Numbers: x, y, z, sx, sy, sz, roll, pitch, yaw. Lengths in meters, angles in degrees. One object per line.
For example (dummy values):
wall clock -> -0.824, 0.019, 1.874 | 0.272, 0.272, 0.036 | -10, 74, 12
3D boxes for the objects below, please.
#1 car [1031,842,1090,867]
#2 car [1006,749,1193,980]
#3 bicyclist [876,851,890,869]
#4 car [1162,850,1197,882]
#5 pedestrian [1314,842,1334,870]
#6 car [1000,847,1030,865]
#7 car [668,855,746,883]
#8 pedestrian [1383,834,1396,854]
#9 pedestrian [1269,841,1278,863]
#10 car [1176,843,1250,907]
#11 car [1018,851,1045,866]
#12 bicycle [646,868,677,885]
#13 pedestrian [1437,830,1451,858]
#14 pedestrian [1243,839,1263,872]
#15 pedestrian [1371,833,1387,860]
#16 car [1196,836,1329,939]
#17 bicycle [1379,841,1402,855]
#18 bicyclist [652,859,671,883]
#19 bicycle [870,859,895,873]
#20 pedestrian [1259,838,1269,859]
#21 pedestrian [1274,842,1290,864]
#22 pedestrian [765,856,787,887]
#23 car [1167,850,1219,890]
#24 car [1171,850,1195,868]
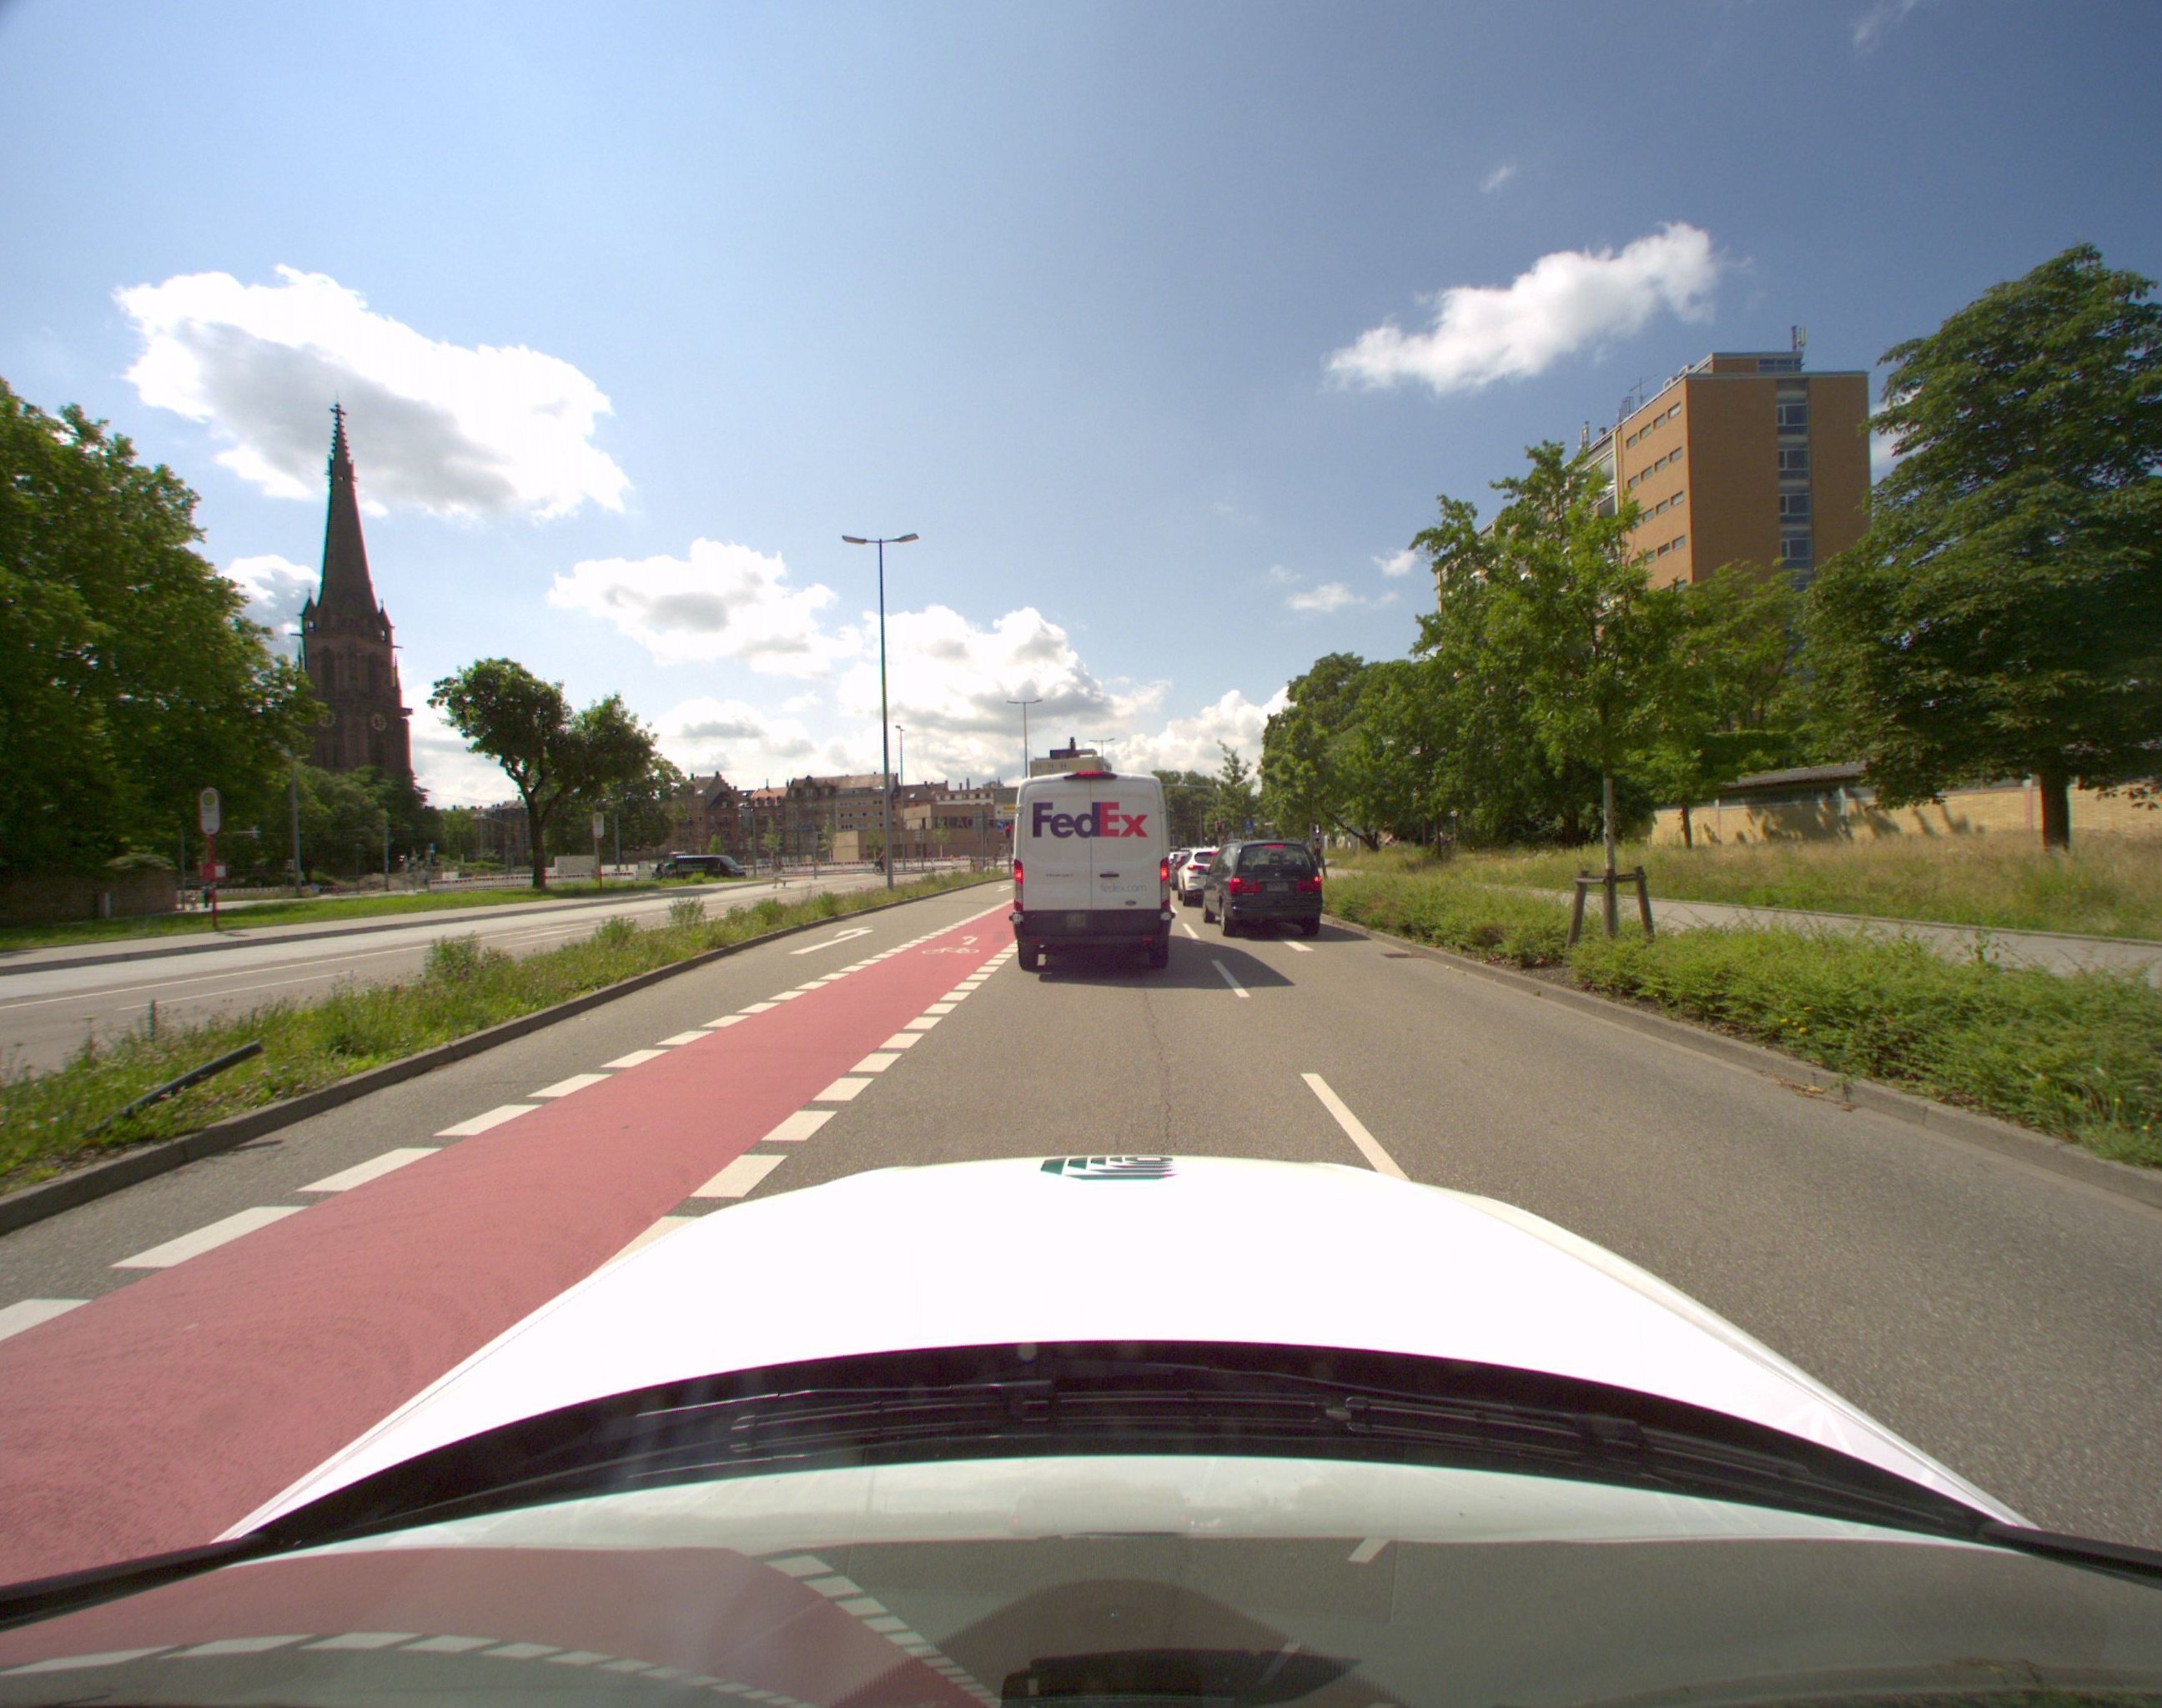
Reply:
car -> -1.803, 0.062, 70.179 | 4.646, 2.014, 2.085 | -2, -1, -21
car -> 0.142, 0.115, 12.380 | 2.135, 2.652, 5.700 | -1, 0, -2
bicyclist -> -15.952, 0.480, 65.640 | 0.966, 1.474, 0.550 | -2, 0, -5
car -> 4.747, 0.564, 39.611 | 1.478, 1.428, 3.437 | -2, 0, 4
pedestrian -> 13.671, 0.120, 45.897 | 0.841, 1.539, 0.835 | -2, 0, 2
car -> -7.688, 0.228, 95.242 | 1.978, 2.013, 4.018 | -2, 0, 17
car -> -28.681, 1.141, 62.489 | 4.994, 1.879, 1.928 | -2, 1, -2
pedestrian -> 23.296, -0.790, 61.496 | 0.891, 1.472, 0.488 | -2, 0, 21
pedestrian -> 16.416, -0.184, 69.374 | 0.572, 1.892, 0.679 | -2, 0, 2
car -> 3.832, 0.549, 24.168 | 1.789, 1.687, 4.005 | -2, 0, 4
car -> -5.671, 0.503, 93.806 | 1.886, 1.585, 4.018 | -2, 0, 17
bicycle -> -33.528, 1.771, 65.053 | 2.061, 1.290, 0.603 | -2, 0, -5
pedestrian -> 26.912, -0.730, 60.375 | 0.837, 2.058, 0.745 | -2, 0, 30
pedestrian -> 10.034, 0.076, 47.488 | 0.947, 1.892, 0.774 | -2, 0, 2
pedestrian -> 23.045, -0.579, 63.023 | 0.739, 2.058, 0.843 | -2, 0, -14
car -> 3.425, 0.550, 16.157 | 1.805, 1.734, 4.391 | -1, 0, 2
bicycle -> 23.357, -0.446, 61.487 | 1.557, 0.955, 0.488 | -2, 0, 21
bicyclist -> -33.520, 1.329, 65.128 | 1.117, 1.844, 0.592 | -2, 1, -5
bicycle -> -15.993, 0.960, 65.649 | 1.917, 1.030, 0.547 | -2, 0, -5
pedestrian -> 16.924, -0.522, 75.337 | 0.579, 1.892, 0.671 | -2, 0, -44
pedestrian -> 13.128, -0.089, 53.283 | 0.841, 1.389, 0.741 | -2, 0, 2
pedestrian -> -15.745, 0.906, 42.084 | 0.548, 1.560, 0.881 | -2, 0, 44
car -> 4.440, 0.586, 32.669 | 1.789, 1.461, 3.843 | -2, 0, 4
car -> 10.552, 0.482, 83.913 | 1.980, 1.794, 4.386 | -2, 0, 12
